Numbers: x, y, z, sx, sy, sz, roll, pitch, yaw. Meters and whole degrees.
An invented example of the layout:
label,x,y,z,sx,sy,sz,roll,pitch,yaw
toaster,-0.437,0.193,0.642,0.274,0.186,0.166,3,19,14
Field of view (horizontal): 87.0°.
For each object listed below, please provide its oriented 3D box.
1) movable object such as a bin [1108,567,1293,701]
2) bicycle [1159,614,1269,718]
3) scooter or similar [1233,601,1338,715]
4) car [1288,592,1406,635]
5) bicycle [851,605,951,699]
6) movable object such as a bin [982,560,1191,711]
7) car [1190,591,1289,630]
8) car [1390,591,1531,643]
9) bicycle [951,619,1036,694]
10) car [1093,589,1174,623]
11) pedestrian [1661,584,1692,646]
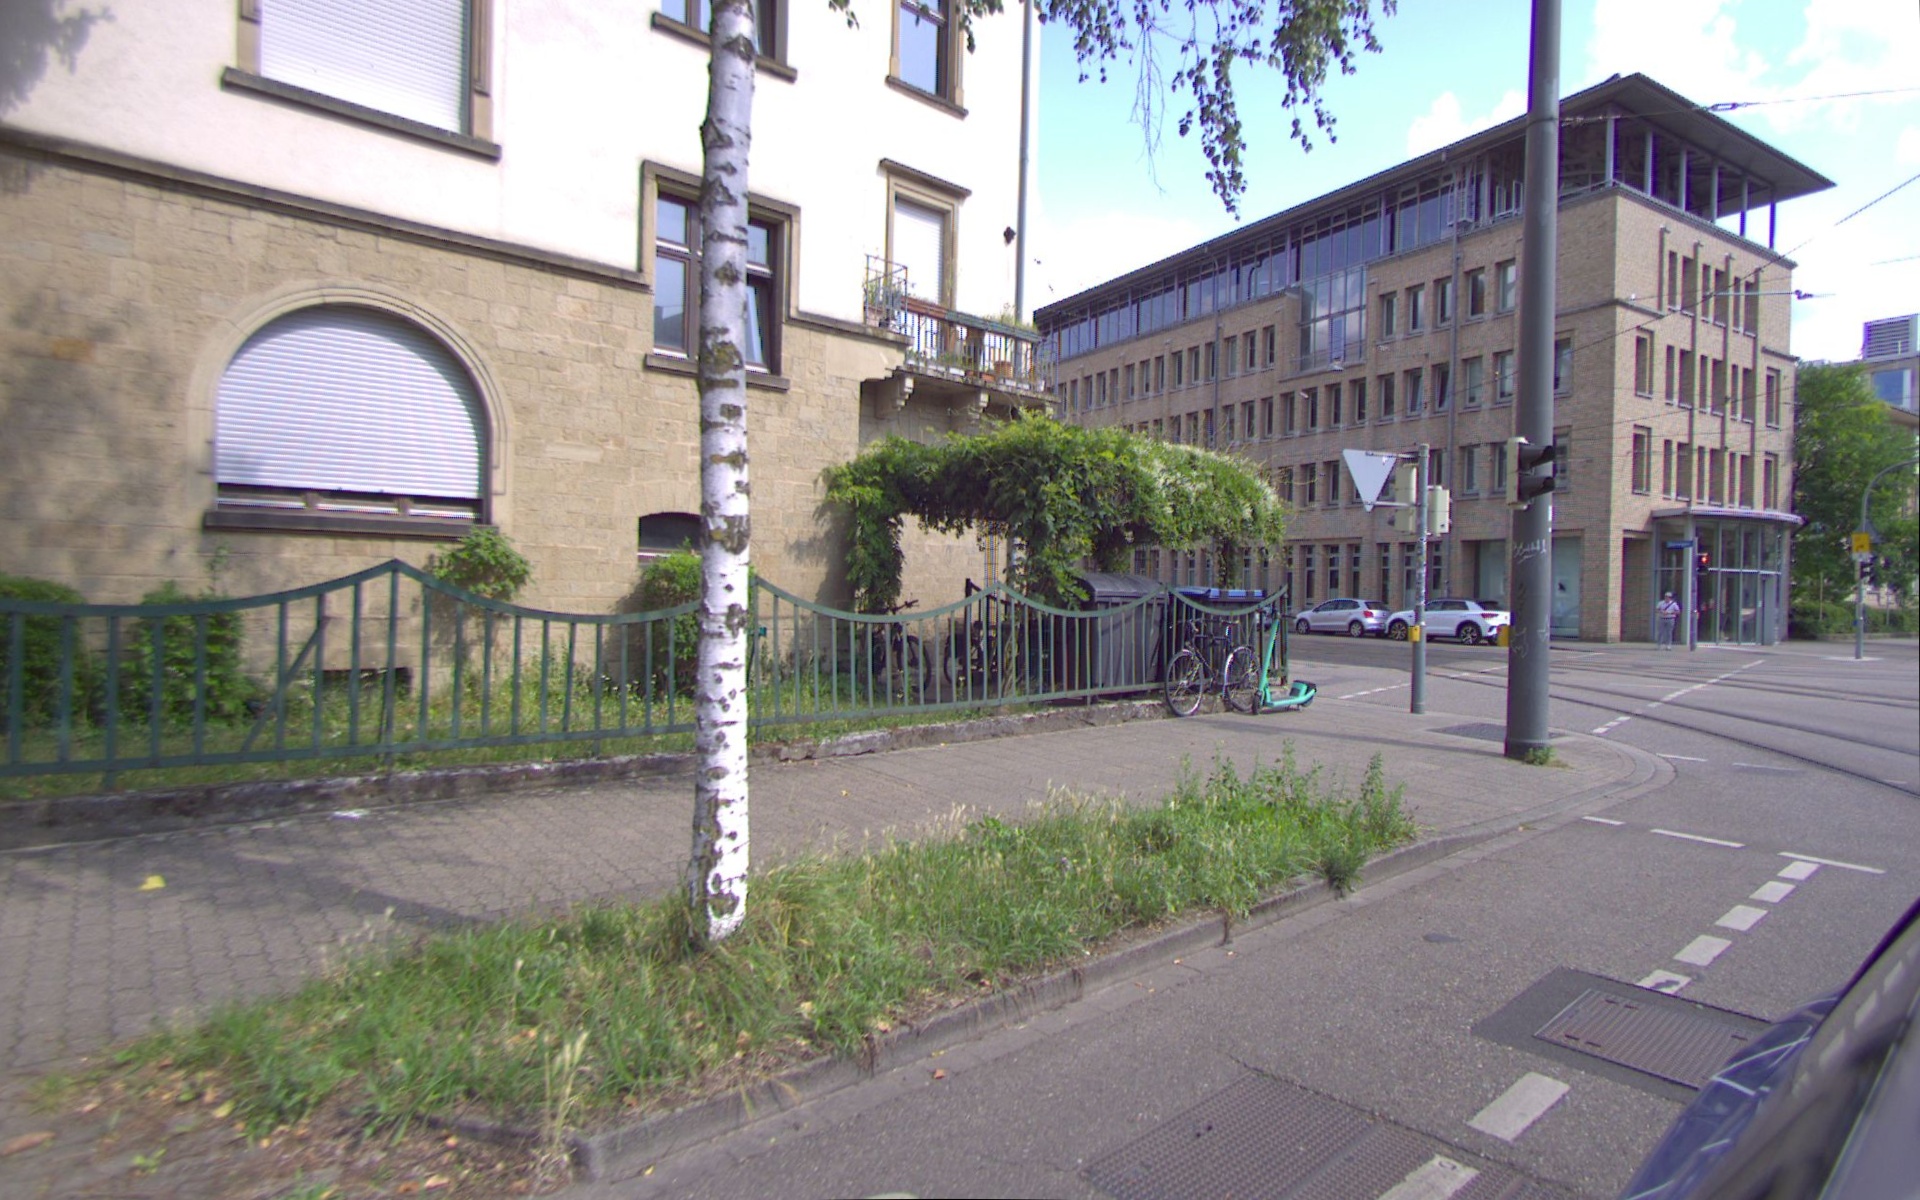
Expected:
label,x,y,z,sx,sy,sz,roll,pitch,yaw
movable object such as a bin,3.015,0.383,12.630,1.964,1.511,1.305,1,1,-40
bicycle,2.779,0.690,11.007,1.455,1.035,0.350,1,3,-42
scooter or similar,3.689,0.631,11.446,1.166,1.193,0.521,1,3,-40
car,14.477,0.486,38.054,1.643,1.440,4.005,2,0,-30
bicycle,-0.715,0.586,11.937,0.445,1.015,1.314,1,1,-41
movable object such as a bin,1.419,0.343,11.252,1.964,1.511,1.305,1,1,-40
car,11.715,0.421,42.673,1.643,1.440,4.005,2,0,-30
car,16.742,0.534,34.057,1.643,1.566,4.005,2,0,-30
bicycle,0.437,0.739,13.624,0.445,0.911,1.169,1,1,-41
car,8.307,0.264,48.794,1.643,1.440,4.005,2,0,-30
pedestrian,22.066,0.461,31.193,0.731,1.866,0.797,1,0,34
